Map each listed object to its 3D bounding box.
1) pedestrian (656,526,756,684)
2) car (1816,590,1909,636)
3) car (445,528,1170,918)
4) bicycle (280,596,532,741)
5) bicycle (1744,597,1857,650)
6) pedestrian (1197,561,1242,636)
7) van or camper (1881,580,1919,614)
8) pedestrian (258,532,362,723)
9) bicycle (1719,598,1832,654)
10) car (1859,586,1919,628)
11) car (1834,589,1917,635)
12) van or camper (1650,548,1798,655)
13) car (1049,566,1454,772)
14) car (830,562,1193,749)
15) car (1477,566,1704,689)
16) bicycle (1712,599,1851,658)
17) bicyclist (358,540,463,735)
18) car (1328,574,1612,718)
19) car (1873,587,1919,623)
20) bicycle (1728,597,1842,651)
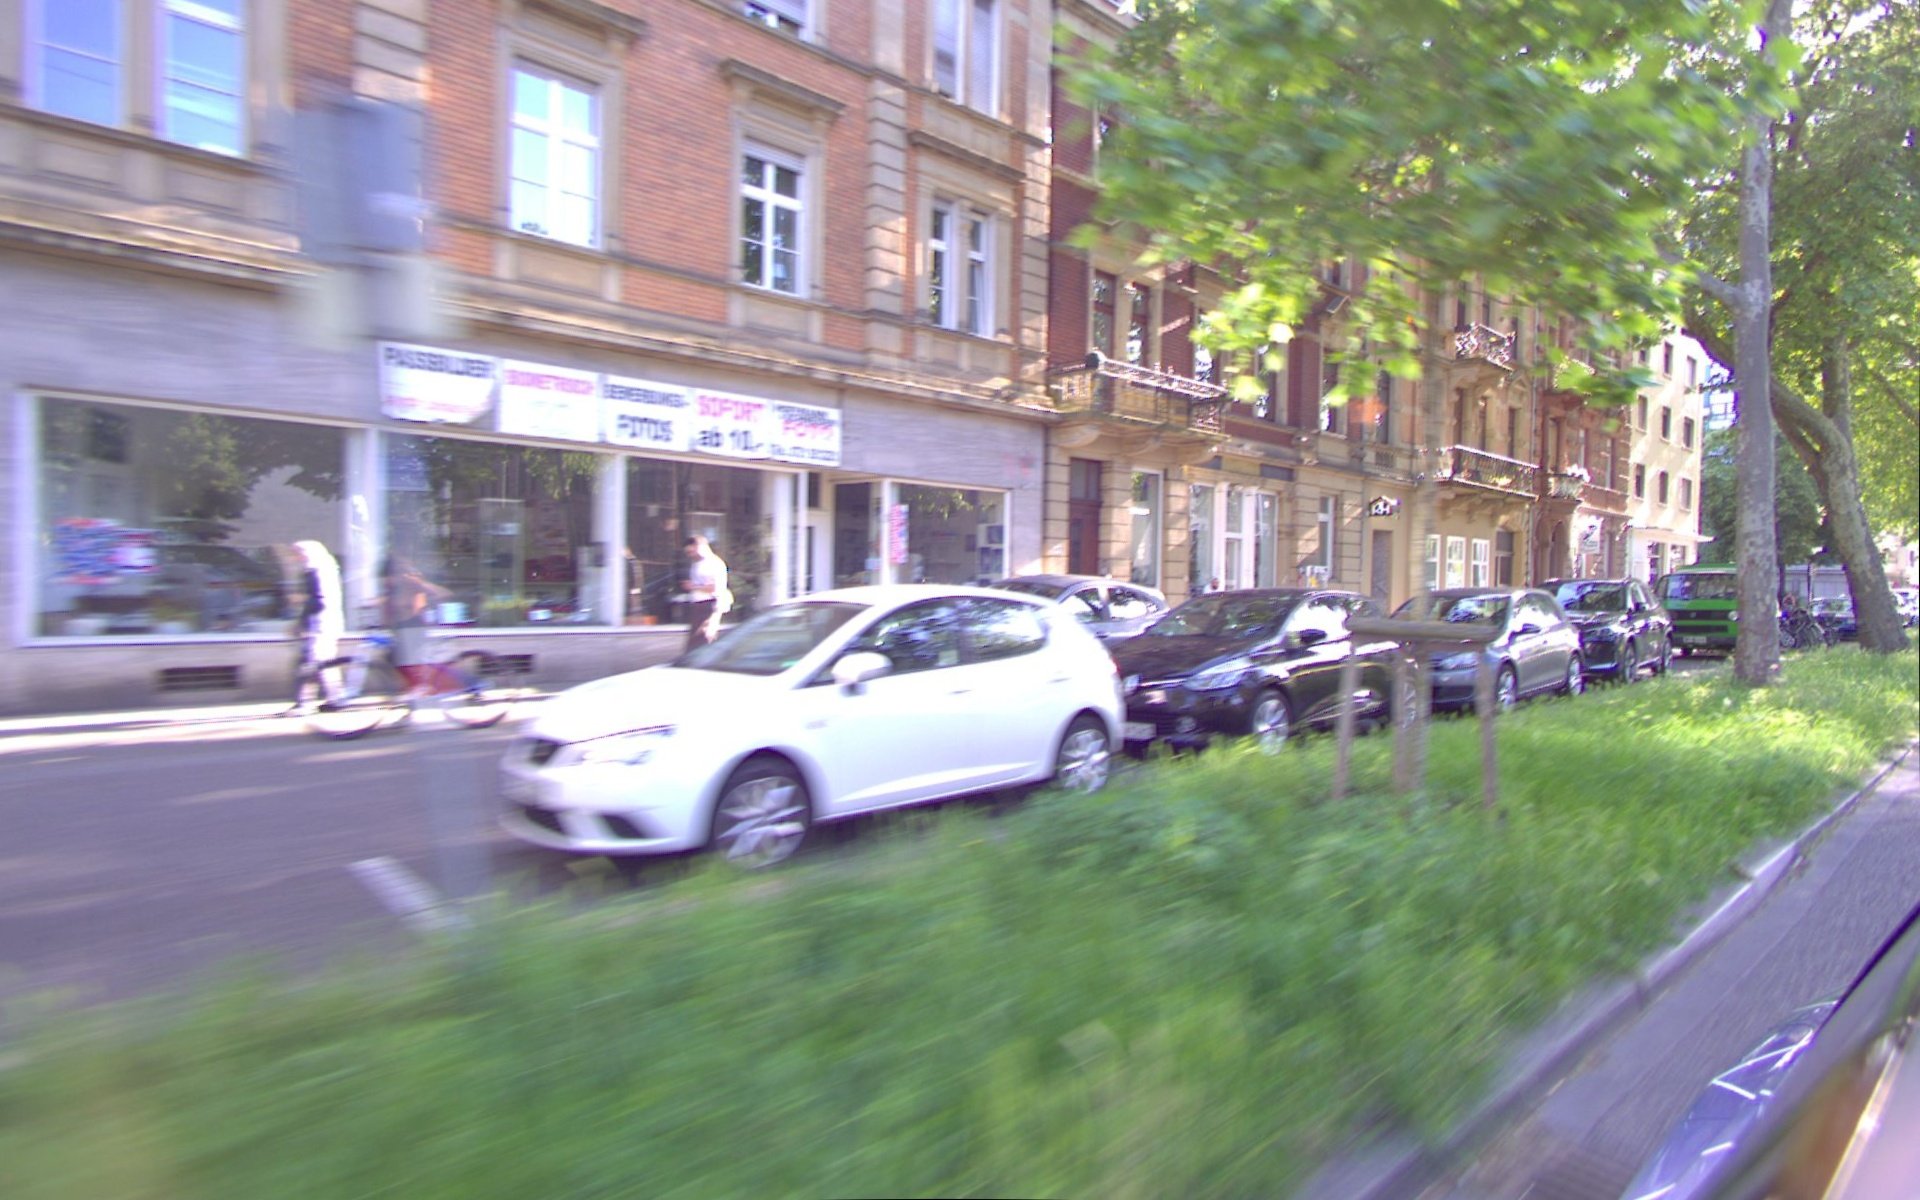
[{"bbox_3d":[-3.055,0.049,12.166,0.941,1.810,0.693,0,1,-41],"label":"pedestrian"},{"bbox_3d":[30.181,0.410,33.817,4.120,1.425,1.836,0,-1,-42],"label":"car"},{"bbox_3d":[-0.679,0.506,6.187,4.113,1.592,1.755,0,-1,-42],"label":"car"},{"bbox_3d":[-4.874,0.543,8.982,1.866,1.140,0.671,0,1,-41],"label":"bicycle"},{"bbox_3d":[22.334,0.600,26.921,0.965,1.310,2.169,0,1,-39],"label":"bicycle"},{"bbox_3d":[5.562,-0.050,21.665,0.682,1.566,0.648,0,1,-43],"label":"pedestrian"},{"bbox_3d":[67.654,-0.226,72.254,5.723,2.315,2.294,0,1,-42],"label":"van or camper"},{"bbox_3d":[-6.128,0.231,9.536,0.739,1.705,0.693,0,1,-41],"label":"pedestrian"},{"bbox_3d":[20.448,0.620,25.442,2.160,1.310,0.969,1,1,39],"label":"bicycle"},{"bbox_3d":[37.693,0.297,40.784,4.187,1.549,1.698,1,1,-42],"label":"car"},{"bbox_3d":[33.385,0.435,36.858,4.501,1.526,1.698,1,1,-41],"label":"car"},{"bbox_3d":[16.990,0.037,22.409,4.694,2.125,1.835,0,-1,-43],"label":"van or camper"},{"bbox_3d":[2.879,0.512,9.497,4.113,1.516,1.755,0,-1,-42],"label":"car"},{"bbox_3d":[0.734,0.444,11.017,1.753,1.598,4.123,3,3,41],"label":"car"},{"bbox_3d":[10.107,0.383,16.064,4.719,1.668,1.892,0,-1,-43],"label":"car"},{"bbox_3d":[19.671,0.654,24.272,2.548,1.310,0.959,1,1,43],"label":"bicycle"},{"bbox_3d":[-4.871,0.301,8.965,0.686,1.635,0.660,0,1,-41],"label":"bicyclist"},{"bbox_3d":[6.428,0.484,12.522,4.291,1.483,1.739,0,-1,-43],"label":"car"},{"bbox_3d":[41.498,0.231,44.380,4.187,1.470,1.717,1,1,-42],"label":"car"},{"bbox_3d":[21.392,0.604,26.285,0.966,1.310,2.168,0,1,-41],"label":"bicycle"}]
